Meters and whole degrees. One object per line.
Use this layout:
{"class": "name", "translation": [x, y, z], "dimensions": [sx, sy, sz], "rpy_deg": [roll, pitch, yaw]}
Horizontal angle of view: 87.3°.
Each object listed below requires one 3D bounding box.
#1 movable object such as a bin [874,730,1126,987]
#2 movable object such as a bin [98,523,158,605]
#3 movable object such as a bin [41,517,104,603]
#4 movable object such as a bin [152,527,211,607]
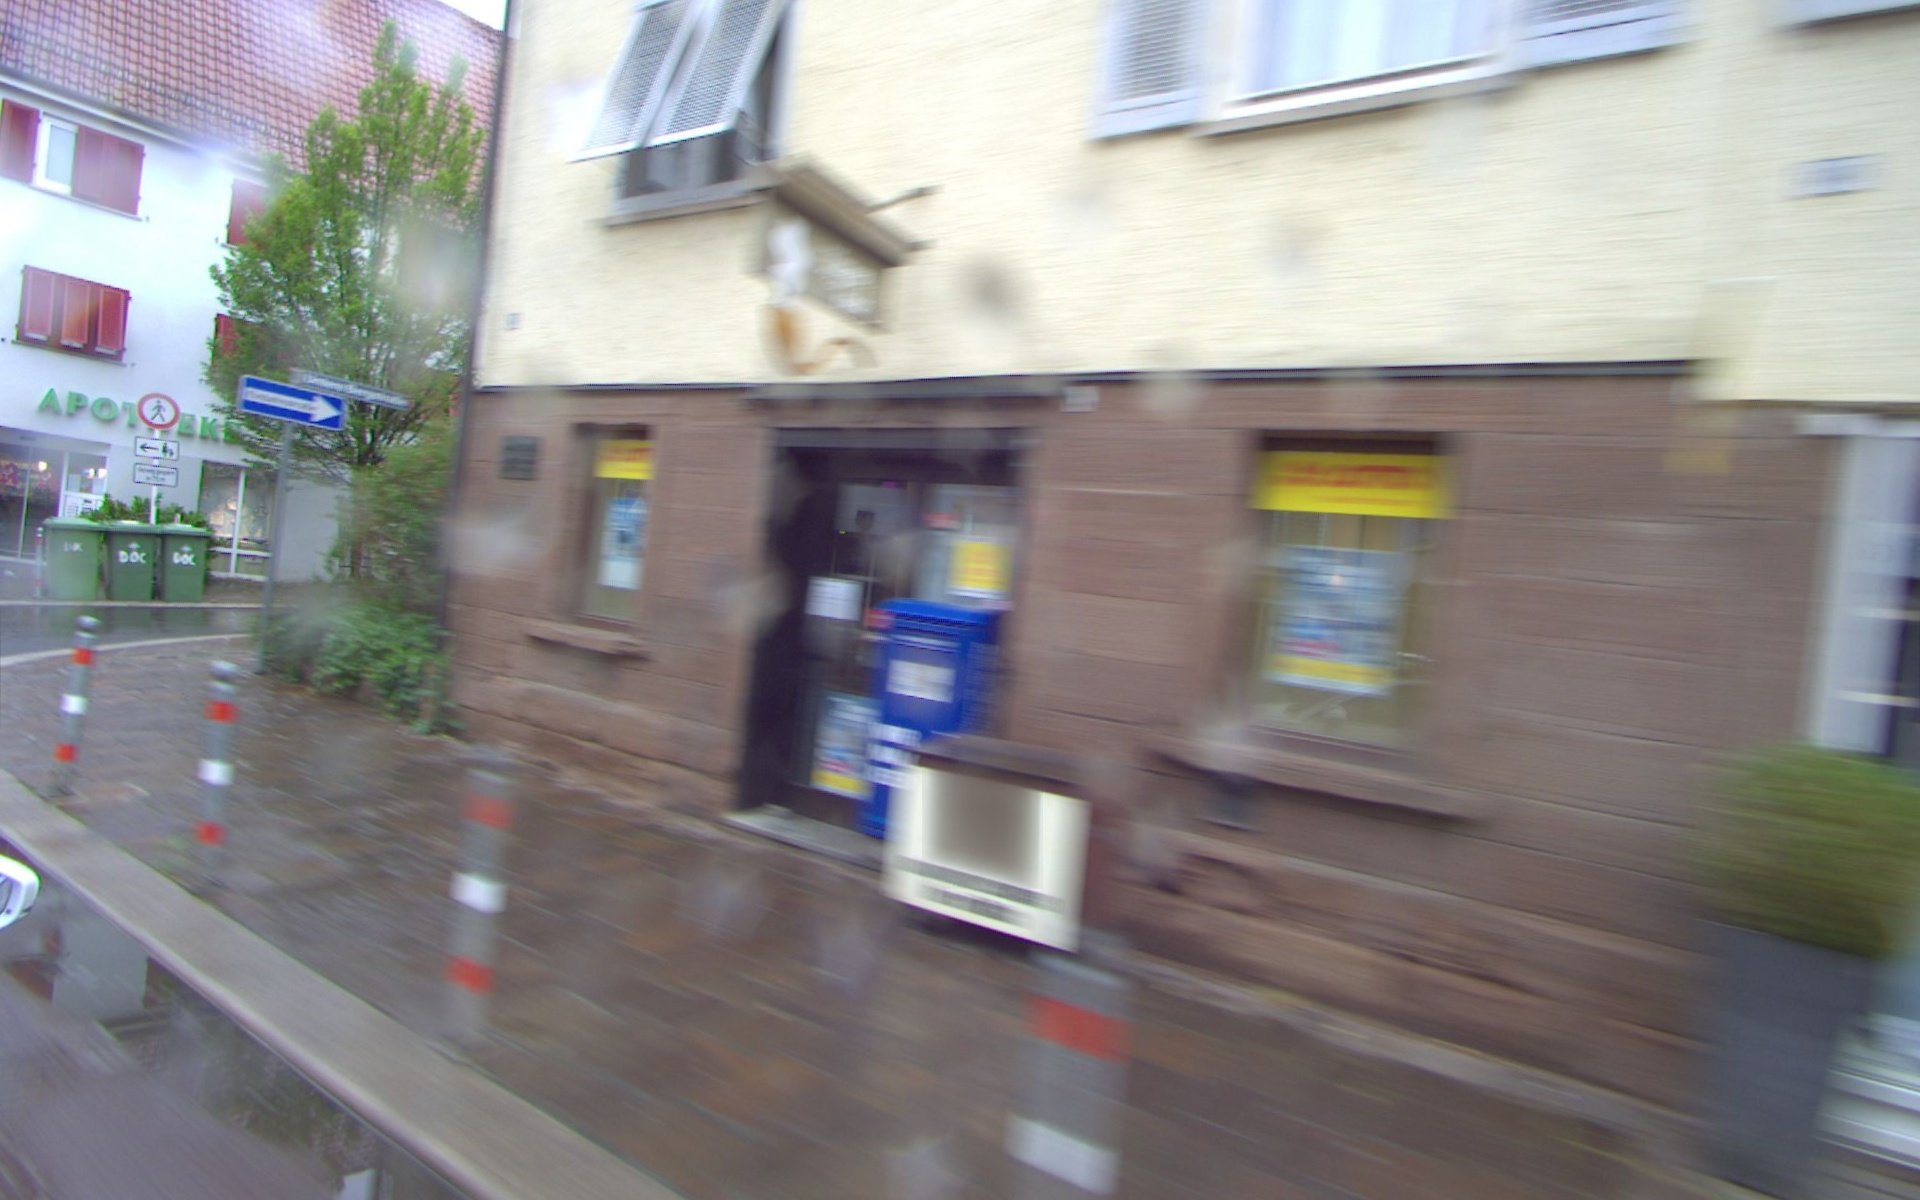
{"class": "movable object such as a bin", "translation": [0.174, 1.094, 4.488], "dimensions": [0.895, 0.847, 0.546], "rpy_deg": [7, 2, 34]}
{"class": "movable object such as a bin", "translation": [-11.382, -0.491, 13.764], "dimensions": [0.541, 1.070, 0.500], "rpy_deg": [5, 1, 39]}
{"class": "movable object such as a bin", "translation": [-11.749, -0.528, 13.317], "dimensions": [0.541, 1.070, 0.500], "rpy_deg": [5, 1, 39]}
{"class": "movable object such as a bin", "translation": [-10.996, -0.464, 14.214], "dimensions": [0.541, 1.070, 0.500], "rpy_deg": [5, 1, 39]}
